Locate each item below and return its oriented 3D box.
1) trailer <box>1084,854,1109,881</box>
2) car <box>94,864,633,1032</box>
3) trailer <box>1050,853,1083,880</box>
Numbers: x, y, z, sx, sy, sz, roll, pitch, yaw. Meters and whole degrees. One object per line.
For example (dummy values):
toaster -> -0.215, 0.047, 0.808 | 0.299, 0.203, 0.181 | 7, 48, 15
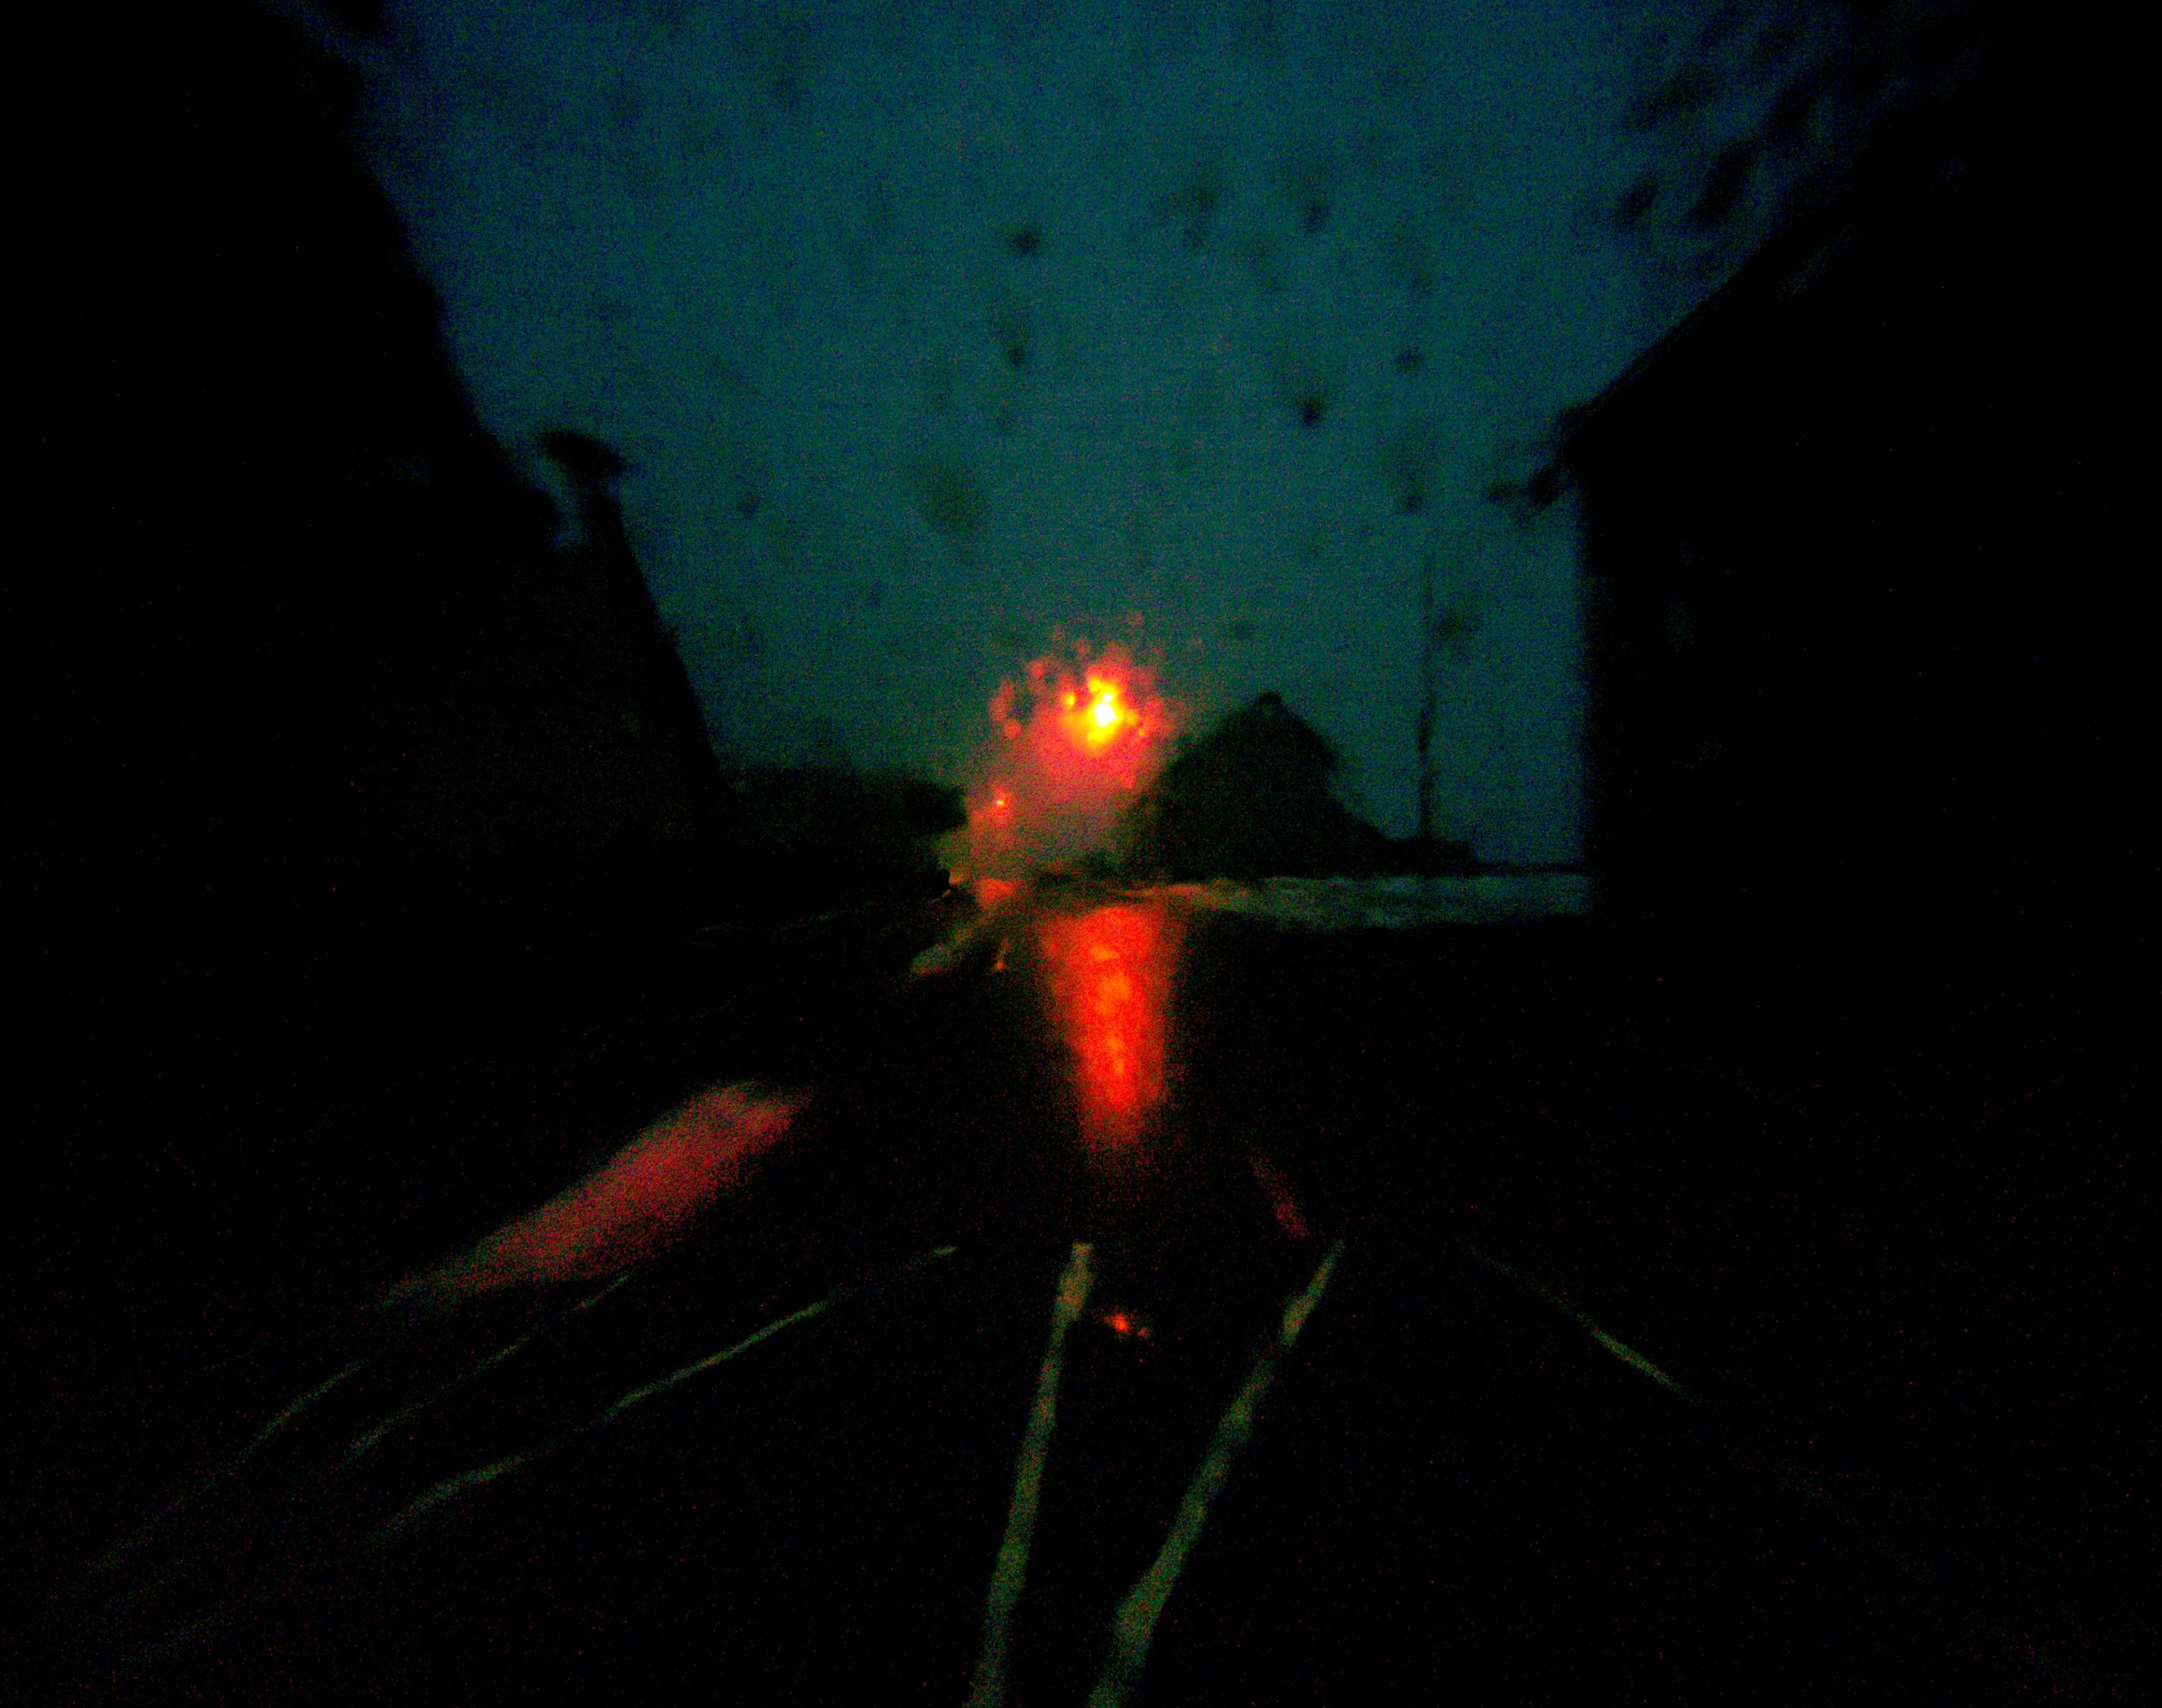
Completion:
trailer -> 1.511, 1.368, 75.963 | 2.000, 2.473, 4.010 | 2, -3, -6
car -> -7.288, 0.923, 8.073 | 3.998, 1.444, 1.715 | -2, -3, -2
trailer -> -1.455, 1.279, 76.975 | 1.698, 2.588, 3.437 | 4, -3, -33
